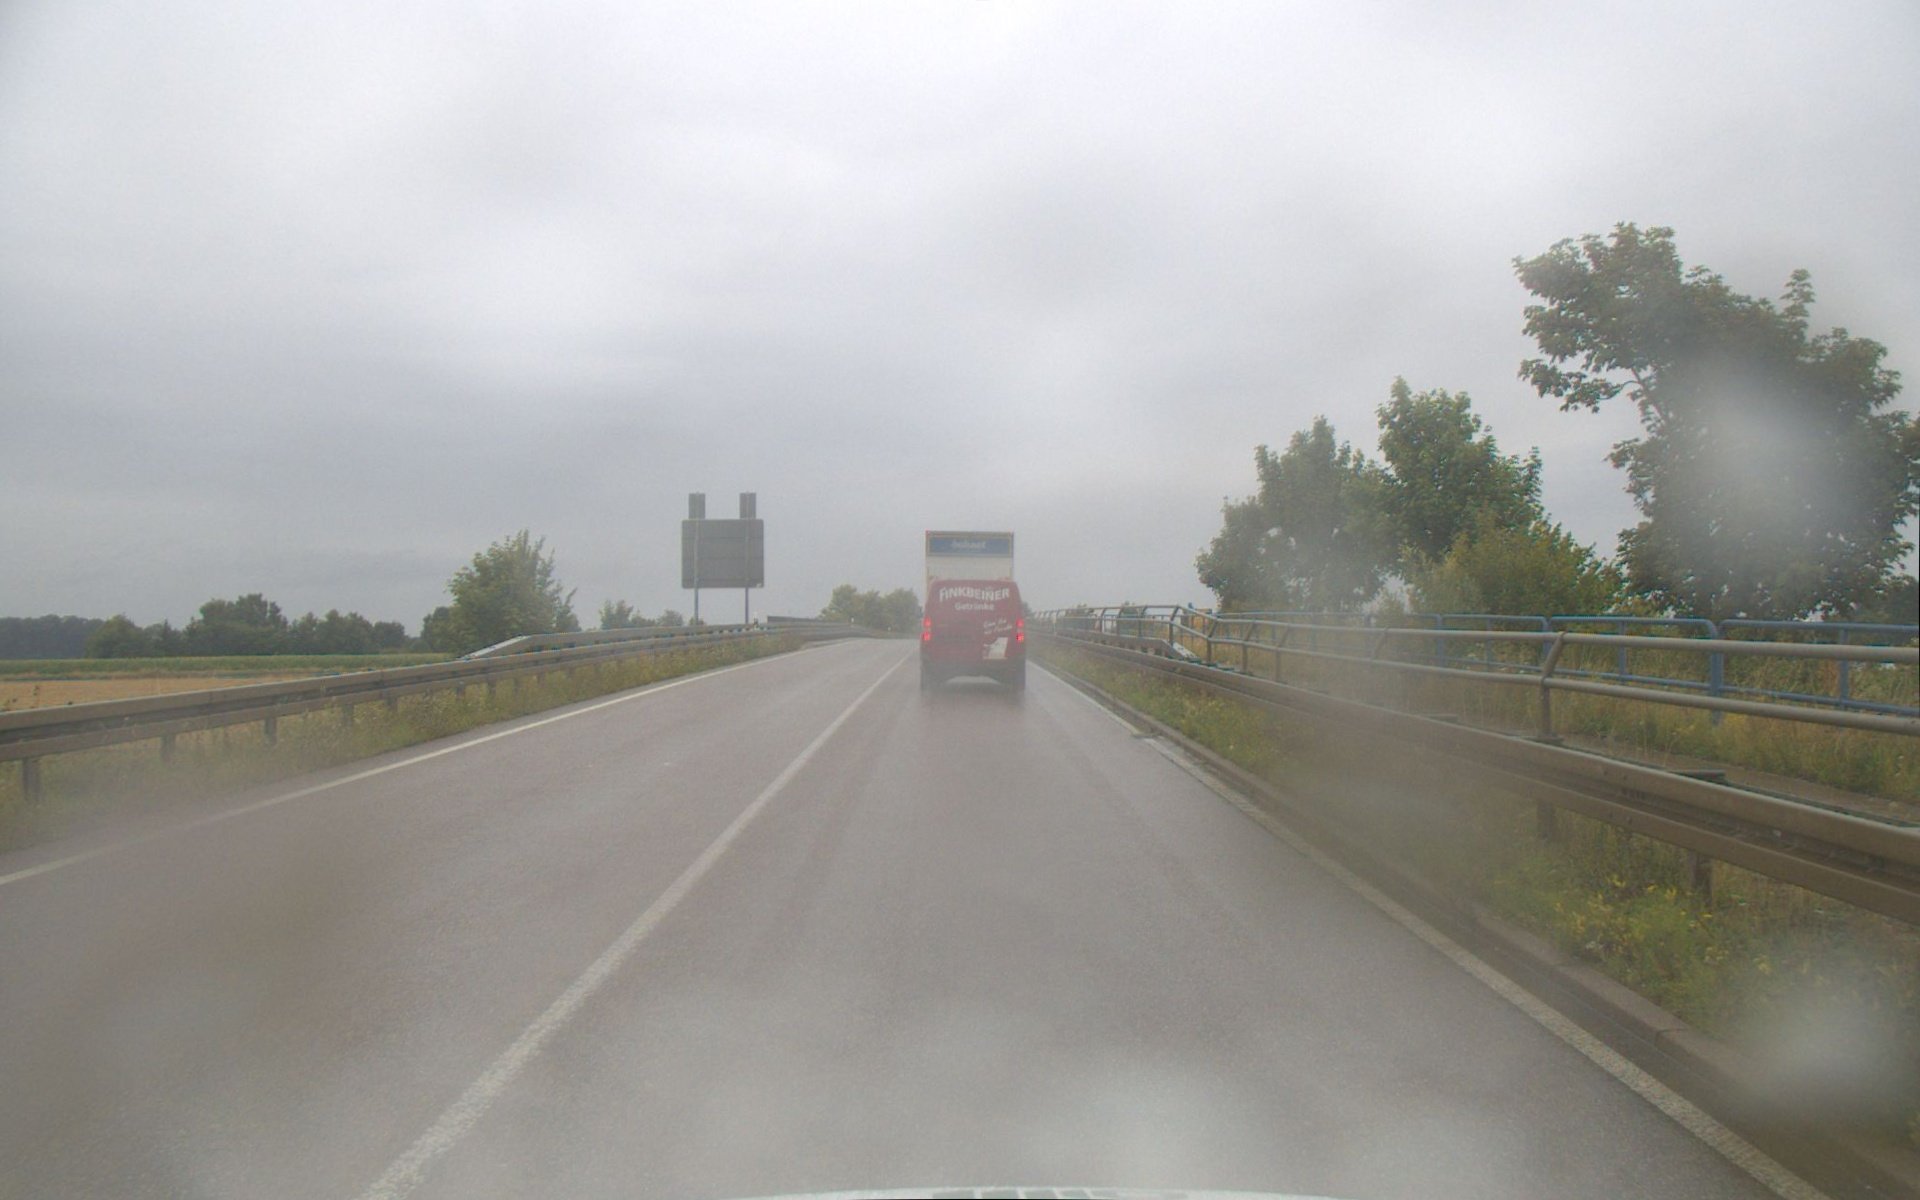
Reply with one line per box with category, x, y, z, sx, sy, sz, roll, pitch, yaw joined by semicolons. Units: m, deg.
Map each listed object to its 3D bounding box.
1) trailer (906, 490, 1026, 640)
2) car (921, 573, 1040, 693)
trailer;0.276;-0.878;50.283;3.135;3.990;8.740;3;-1;1
car;0.314;0.562;29.602;1.953;1.959;4.142;1;0;-1
